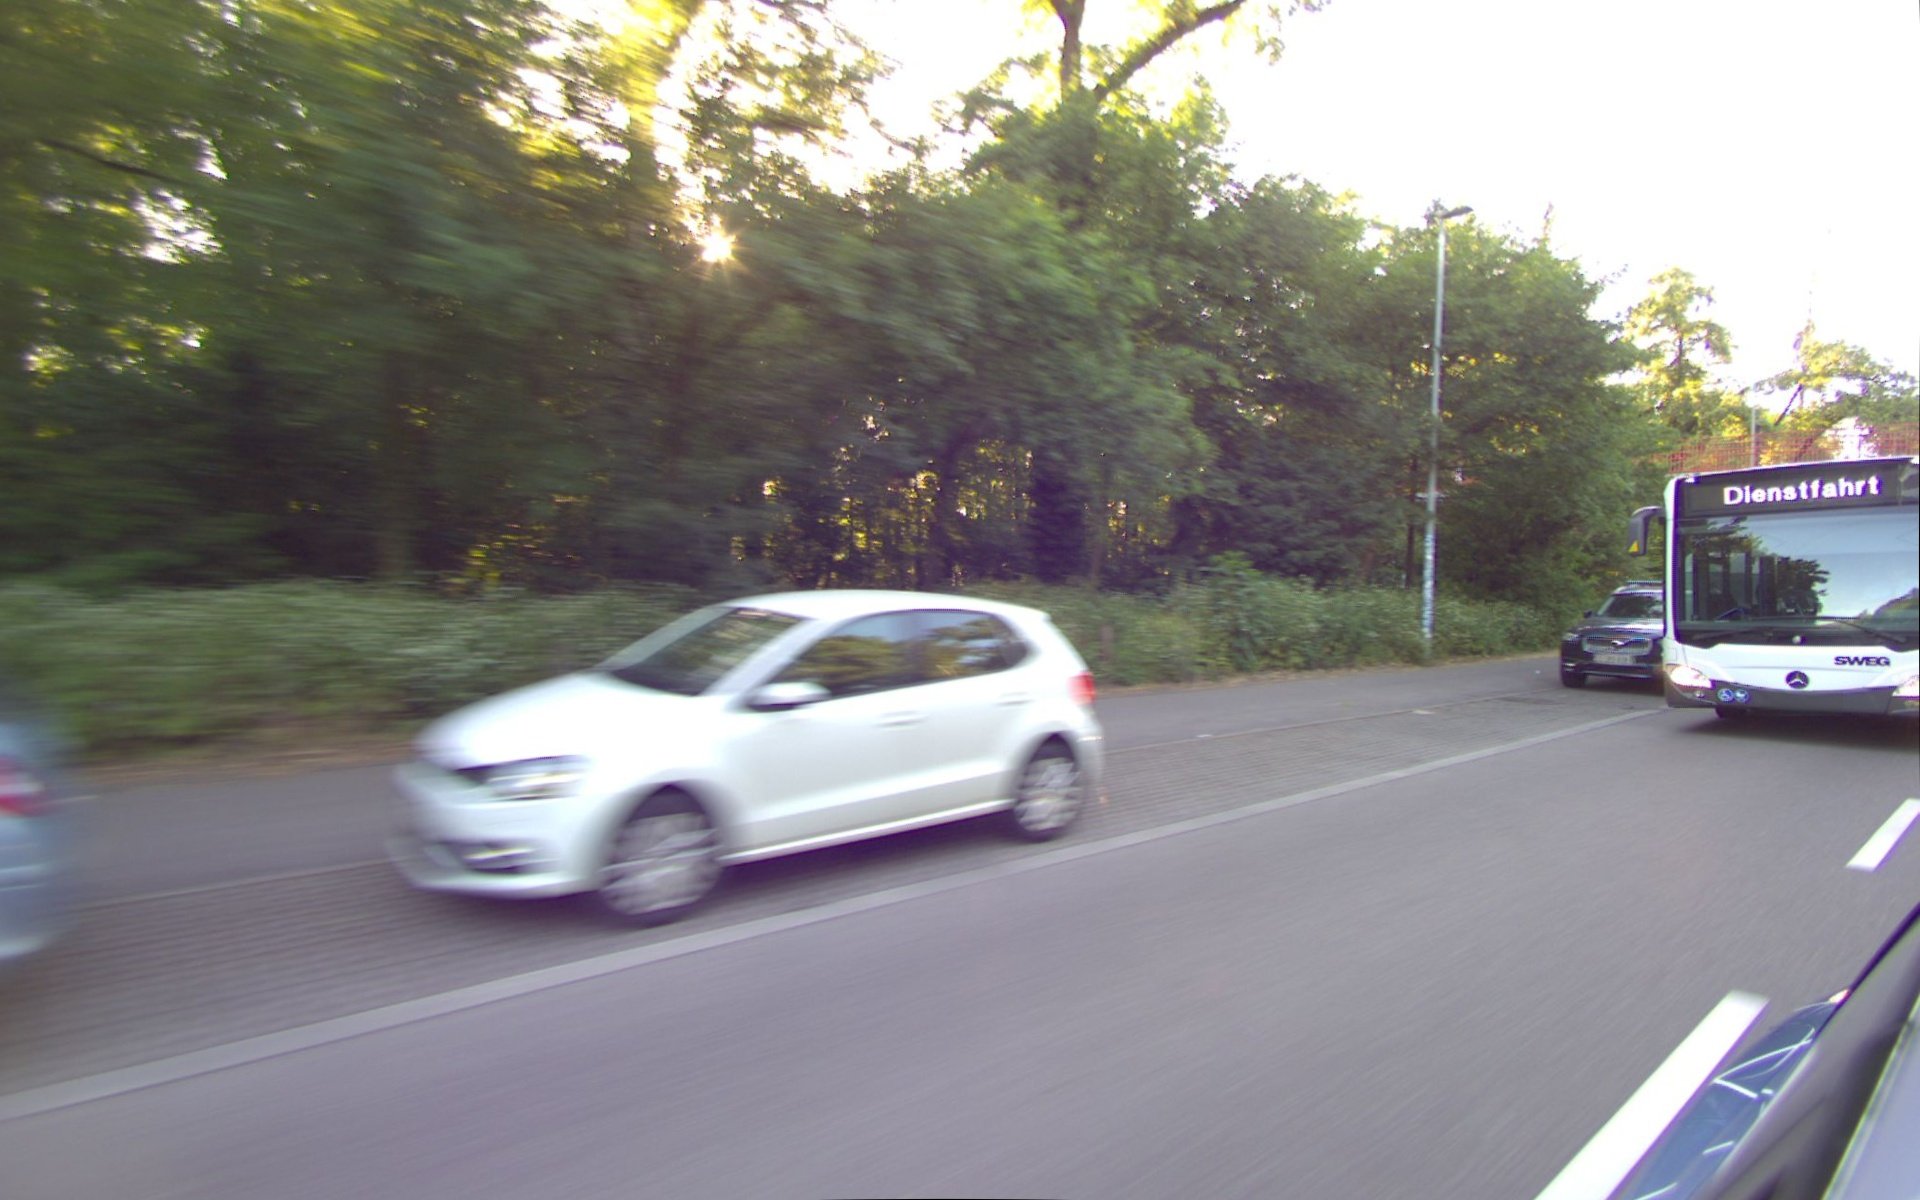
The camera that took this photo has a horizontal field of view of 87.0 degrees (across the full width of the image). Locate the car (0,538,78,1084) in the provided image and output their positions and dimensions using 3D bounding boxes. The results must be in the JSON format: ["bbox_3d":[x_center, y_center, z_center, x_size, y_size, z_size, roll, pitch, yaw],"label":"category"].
[{"bbox_3d":[-4.838,0.577,2.333,4.141,1.562,1.732,0,3,-39],"label":"car"}]

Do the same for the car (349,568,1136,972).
[{"bbox_3d":[-1.008,0.620,5.773,4.027,1.459,1.732,0,4,-40],"label":"car"}]

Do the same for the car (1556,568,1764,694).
[{"bbox_3d":[12.265,0.453,17.595,4.986,1.891,1.832,0,1,-42],"label":"car"}]

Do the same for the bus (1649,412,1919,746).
[{"bbox_3d":[13.242,-0.228,14.610,12.069,3.263,2.707,0,0,-42],"label":"bus"}]
